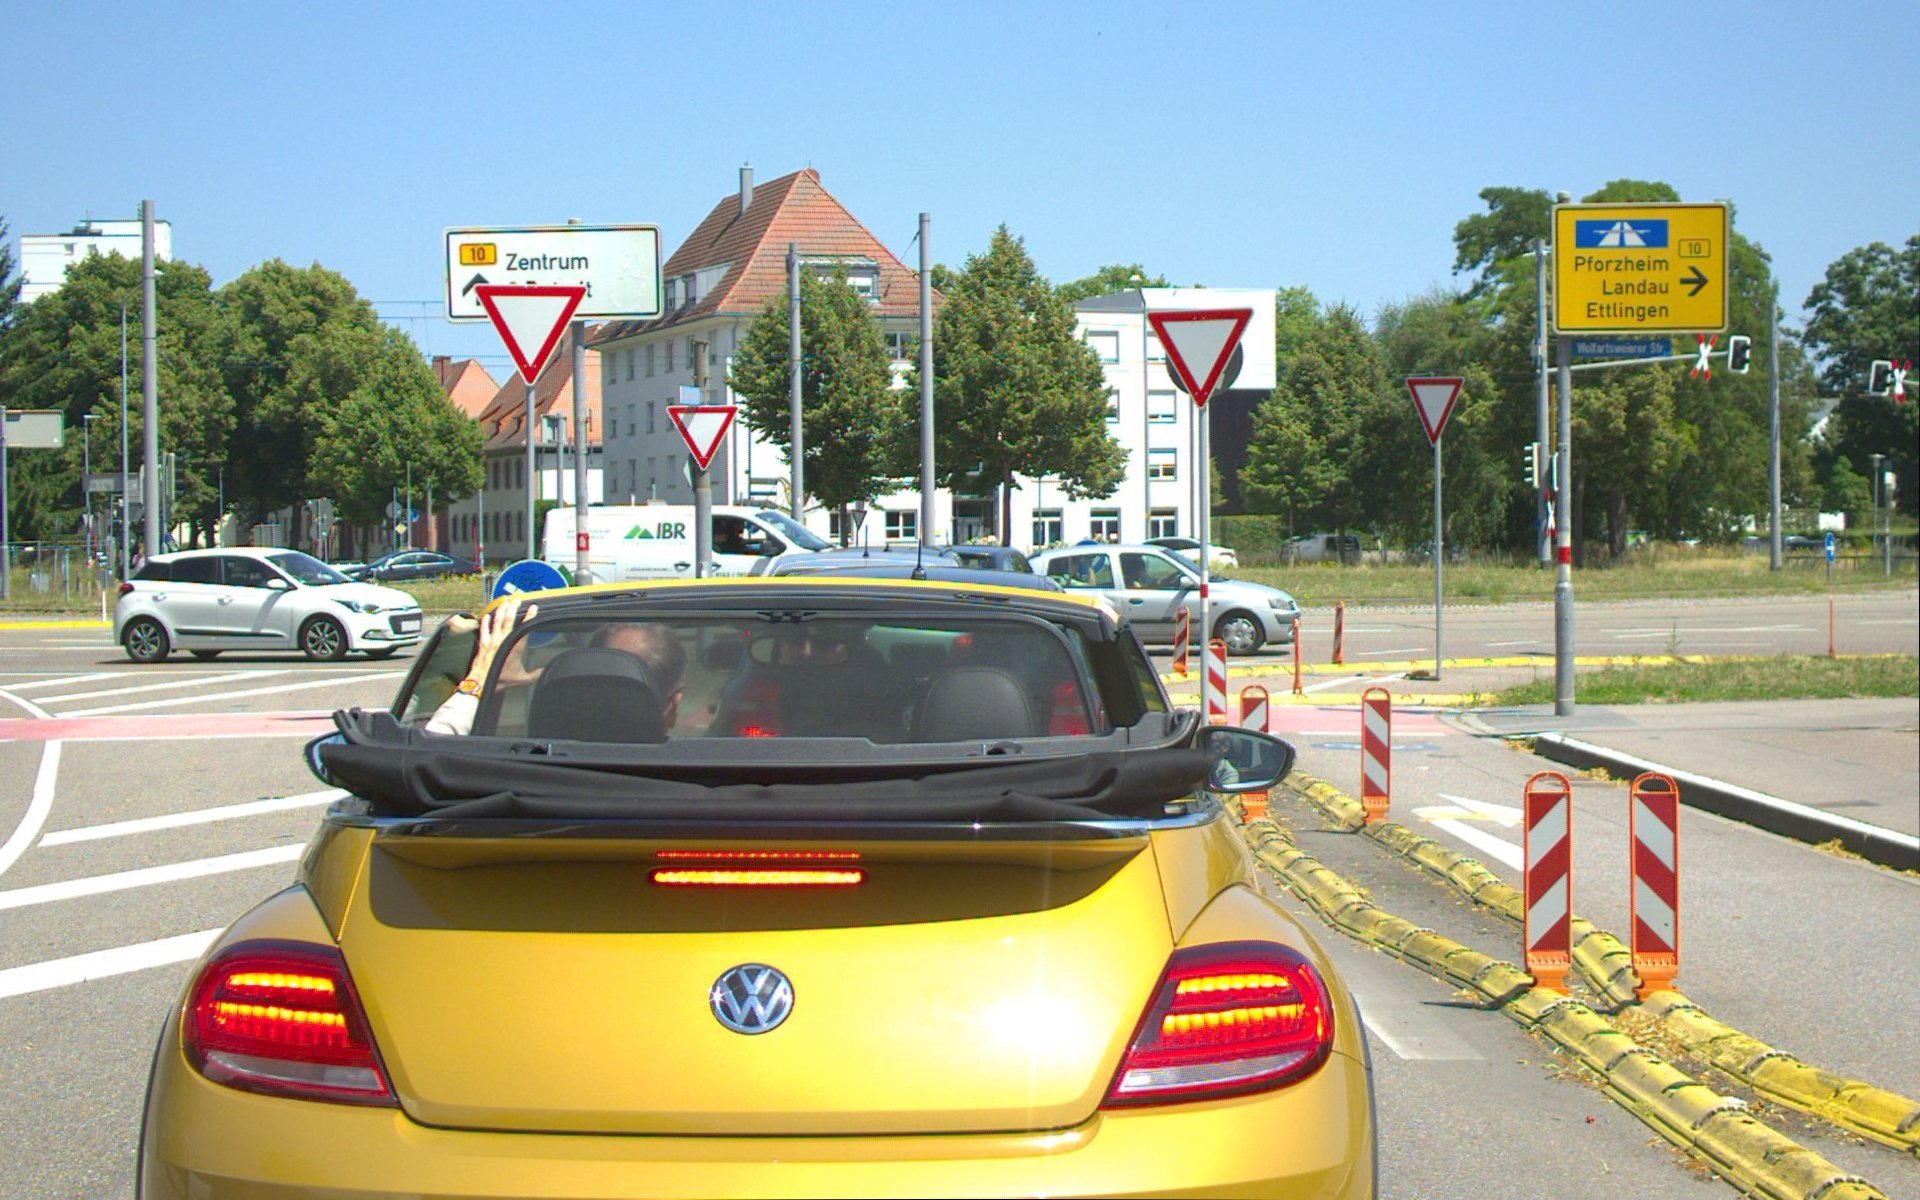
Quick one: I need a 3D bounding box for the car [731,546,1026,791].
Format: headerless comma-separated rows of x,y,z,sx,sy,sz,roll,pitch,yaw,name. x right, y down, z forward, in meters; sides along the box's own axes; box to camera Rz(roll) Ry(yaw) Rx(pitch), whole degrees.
-0.504,0.377,22.293,1.736,1.437,4.000,0,1,-1,car

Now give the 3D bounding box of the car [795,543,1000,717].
-0.551,0.228,31.250,1.736,1.472,4.000,0,1,-1,car

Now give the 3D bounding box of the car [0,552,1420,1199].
-0.341,0.630,6.140,1.752,1.417,3.778,0,1,-1,car

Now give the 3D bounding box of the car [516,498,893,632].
-3.602,-0.510,48.843,4.973,1.843,1.999,0,1,12,car

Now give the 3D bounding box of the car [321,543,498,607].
-16.729,-0.770,104.576,4.915,1.780,2.027,-2,1,-25,car

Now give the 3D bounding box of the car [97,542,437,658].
-8.987,-0.019,44.666,4.010,1.439,1.632,0,1,12,car

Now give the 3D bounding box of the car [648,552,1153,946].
-0.240,0.523,14.641,1.848,1.437,4.000,0,1,-1,car

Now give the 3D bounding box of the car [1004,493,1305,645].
2.455,-0.393,42.932,3.667,1.843,1.632,0,1,7,car

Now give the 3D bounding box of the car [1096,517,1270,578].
7.042,-1.656,108.369,5.166,1.780,2.025,-1,1,12,car
